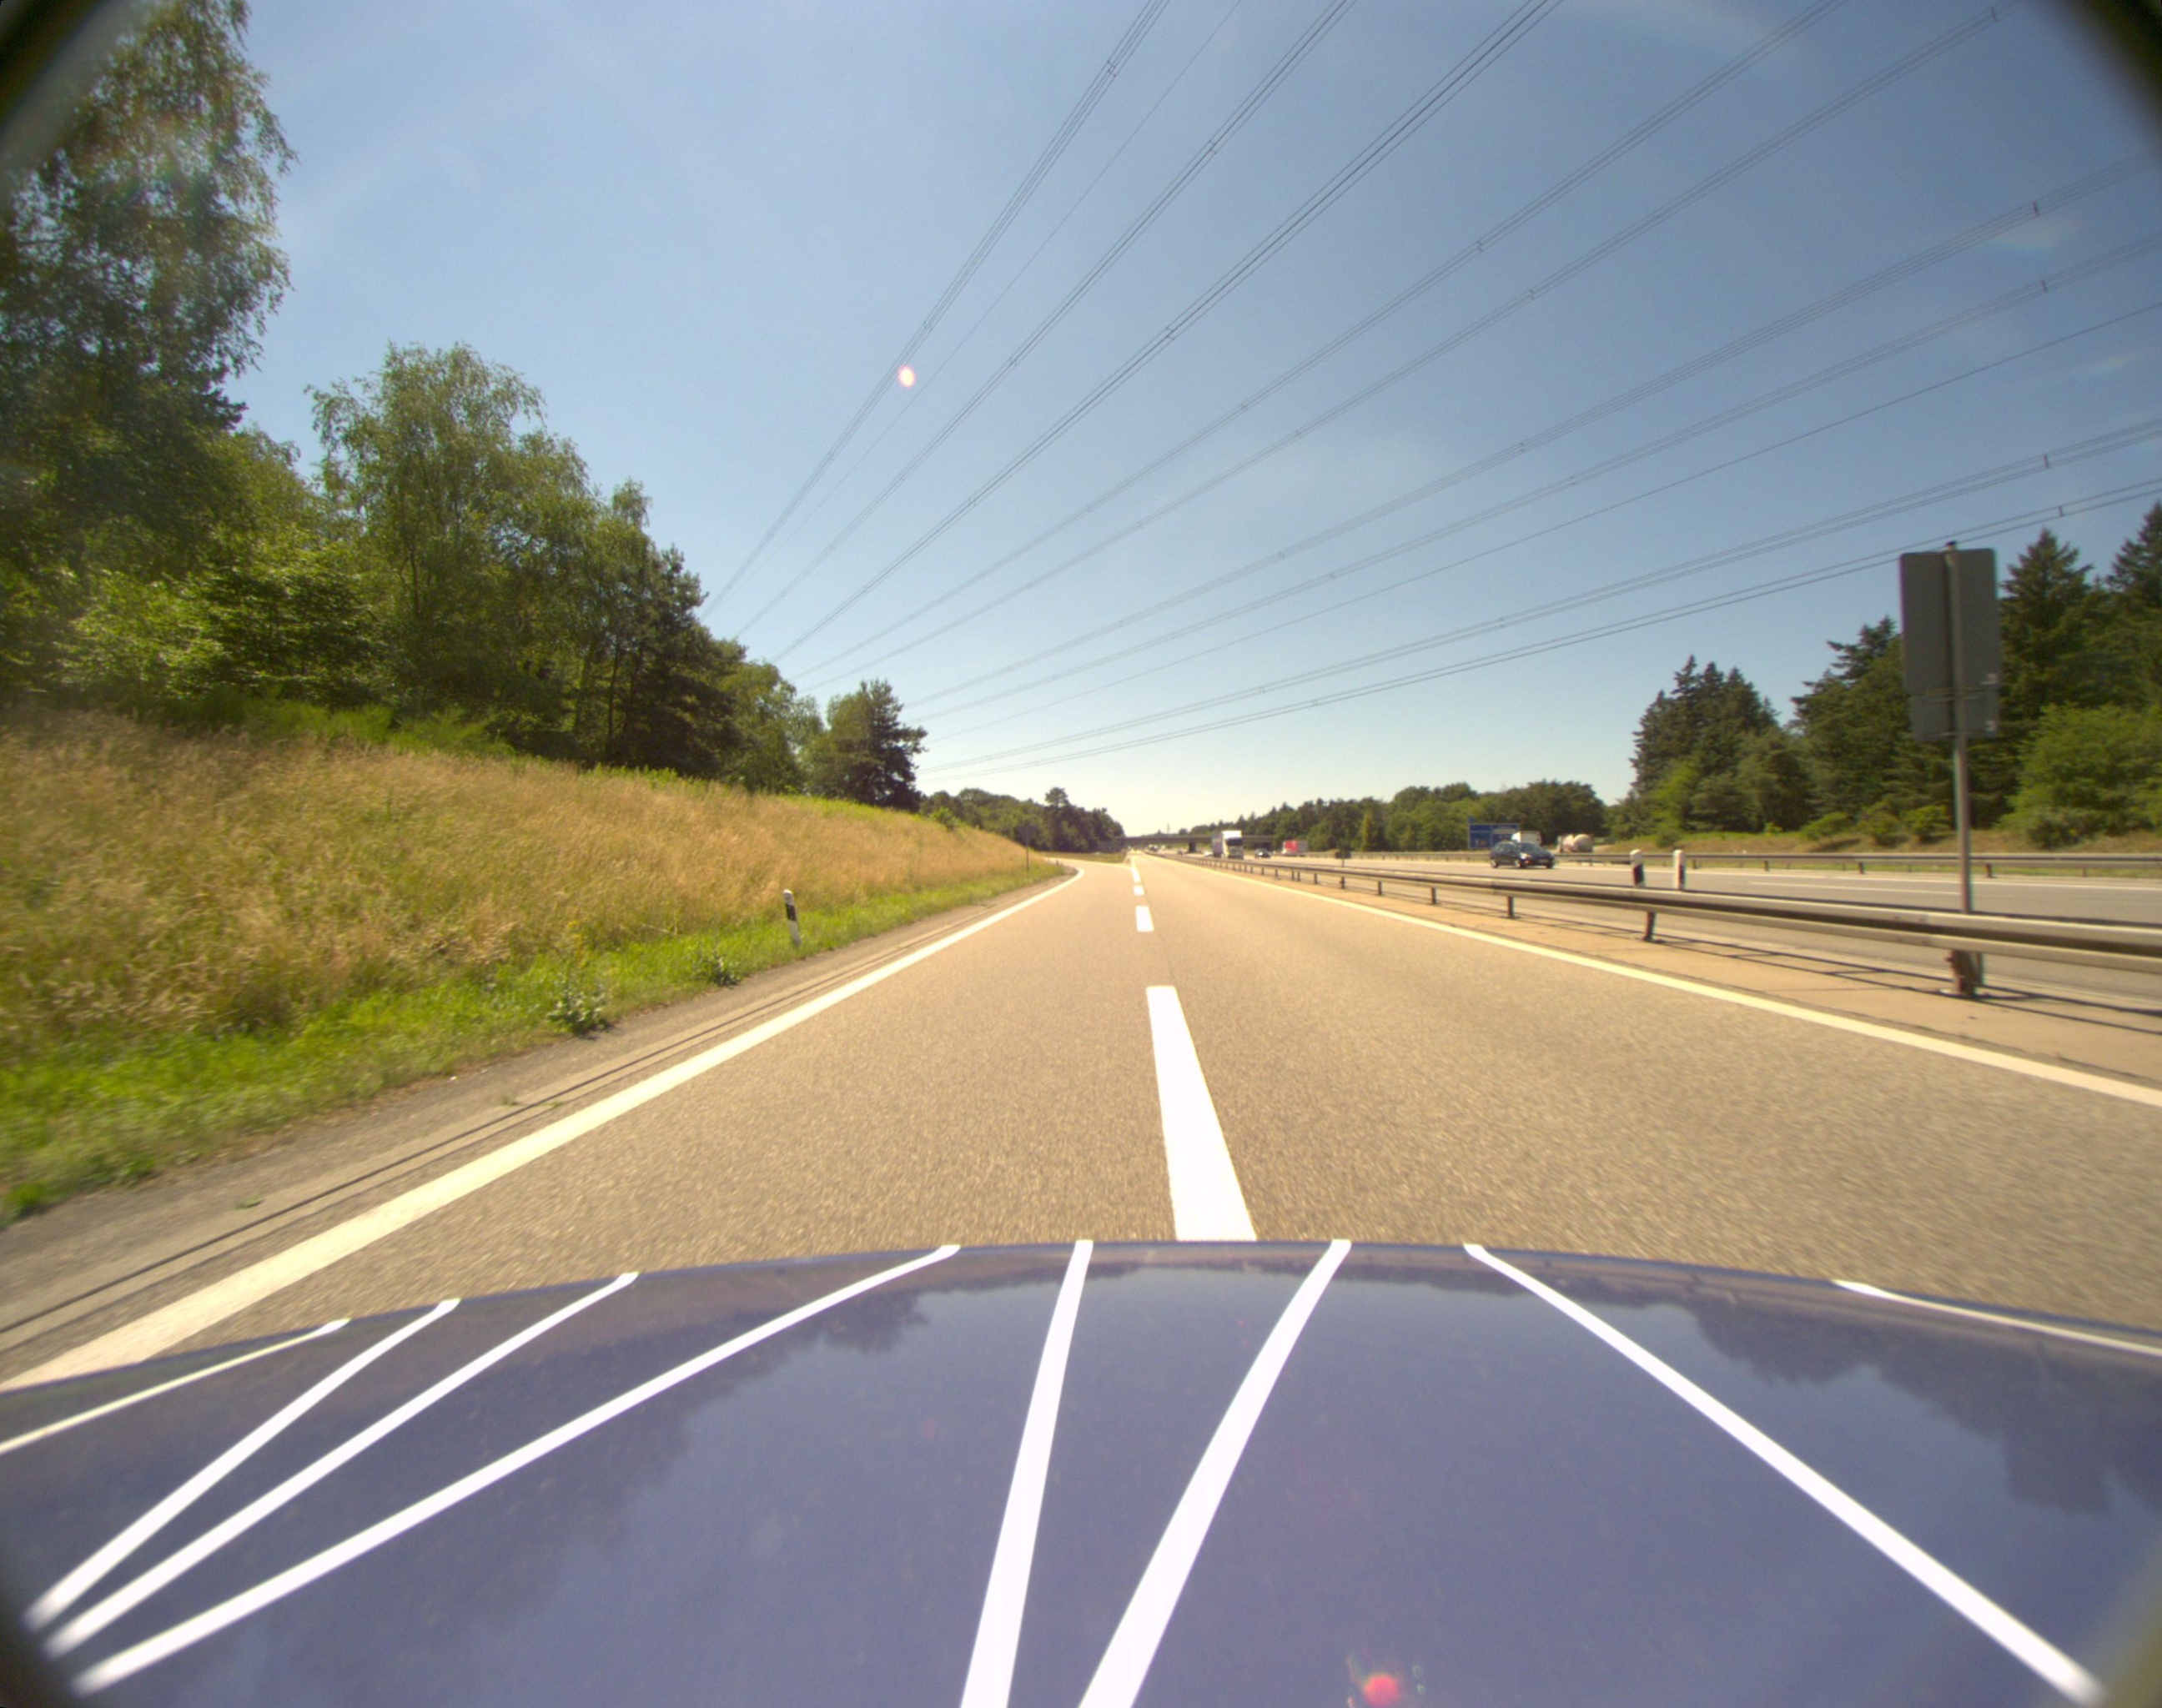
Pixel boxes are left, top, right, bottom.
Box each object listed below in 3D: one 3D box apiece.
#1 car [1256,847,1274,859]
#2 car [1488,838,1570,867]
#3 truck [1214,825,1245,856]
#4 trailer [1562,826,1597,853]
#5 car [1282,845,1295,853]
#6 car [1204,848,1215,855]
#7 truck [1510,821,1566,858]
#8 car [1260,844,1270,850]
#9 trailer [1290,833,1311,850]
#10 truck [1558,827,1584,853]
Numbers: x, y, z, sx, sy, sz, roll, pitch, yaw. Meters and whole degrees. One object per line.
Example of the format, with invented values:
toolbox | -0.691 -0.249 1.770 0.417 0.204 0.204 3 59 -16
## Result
car | 27.591 -0.152 113.879 1.998 1.707 4.001 -1 1 5
car | 24.242 -0.098 41.294 1.998 1.467 4.242 -1 1 1
truck | 20.576 -1.809 105.699 2.709 4.034 11.049 -1 0 3
trailer | 72.509 -2.027 110.749 2.774 3.775 8.951 -1 0 23
car | 46.534 -1.060 170.631 1.776 1.674 4.825 -1 2 4
car | 30.241 -0.627 178.672 1.998 1.559 4.000 -1 0 1
truck | 55.743 -1.820 92.979 2.866 4.321 7.531 -1 2 5
car | 49.782 -1.923 205.457 1.919 1.674 4.825 -1 2 3
trailer | 52.354 -2.853 181.944 2.546 3.775 13.748 -1 0 7
truck | 74.878 -2.067 116.155 2.770 3.775 4.007 -1 0 24
